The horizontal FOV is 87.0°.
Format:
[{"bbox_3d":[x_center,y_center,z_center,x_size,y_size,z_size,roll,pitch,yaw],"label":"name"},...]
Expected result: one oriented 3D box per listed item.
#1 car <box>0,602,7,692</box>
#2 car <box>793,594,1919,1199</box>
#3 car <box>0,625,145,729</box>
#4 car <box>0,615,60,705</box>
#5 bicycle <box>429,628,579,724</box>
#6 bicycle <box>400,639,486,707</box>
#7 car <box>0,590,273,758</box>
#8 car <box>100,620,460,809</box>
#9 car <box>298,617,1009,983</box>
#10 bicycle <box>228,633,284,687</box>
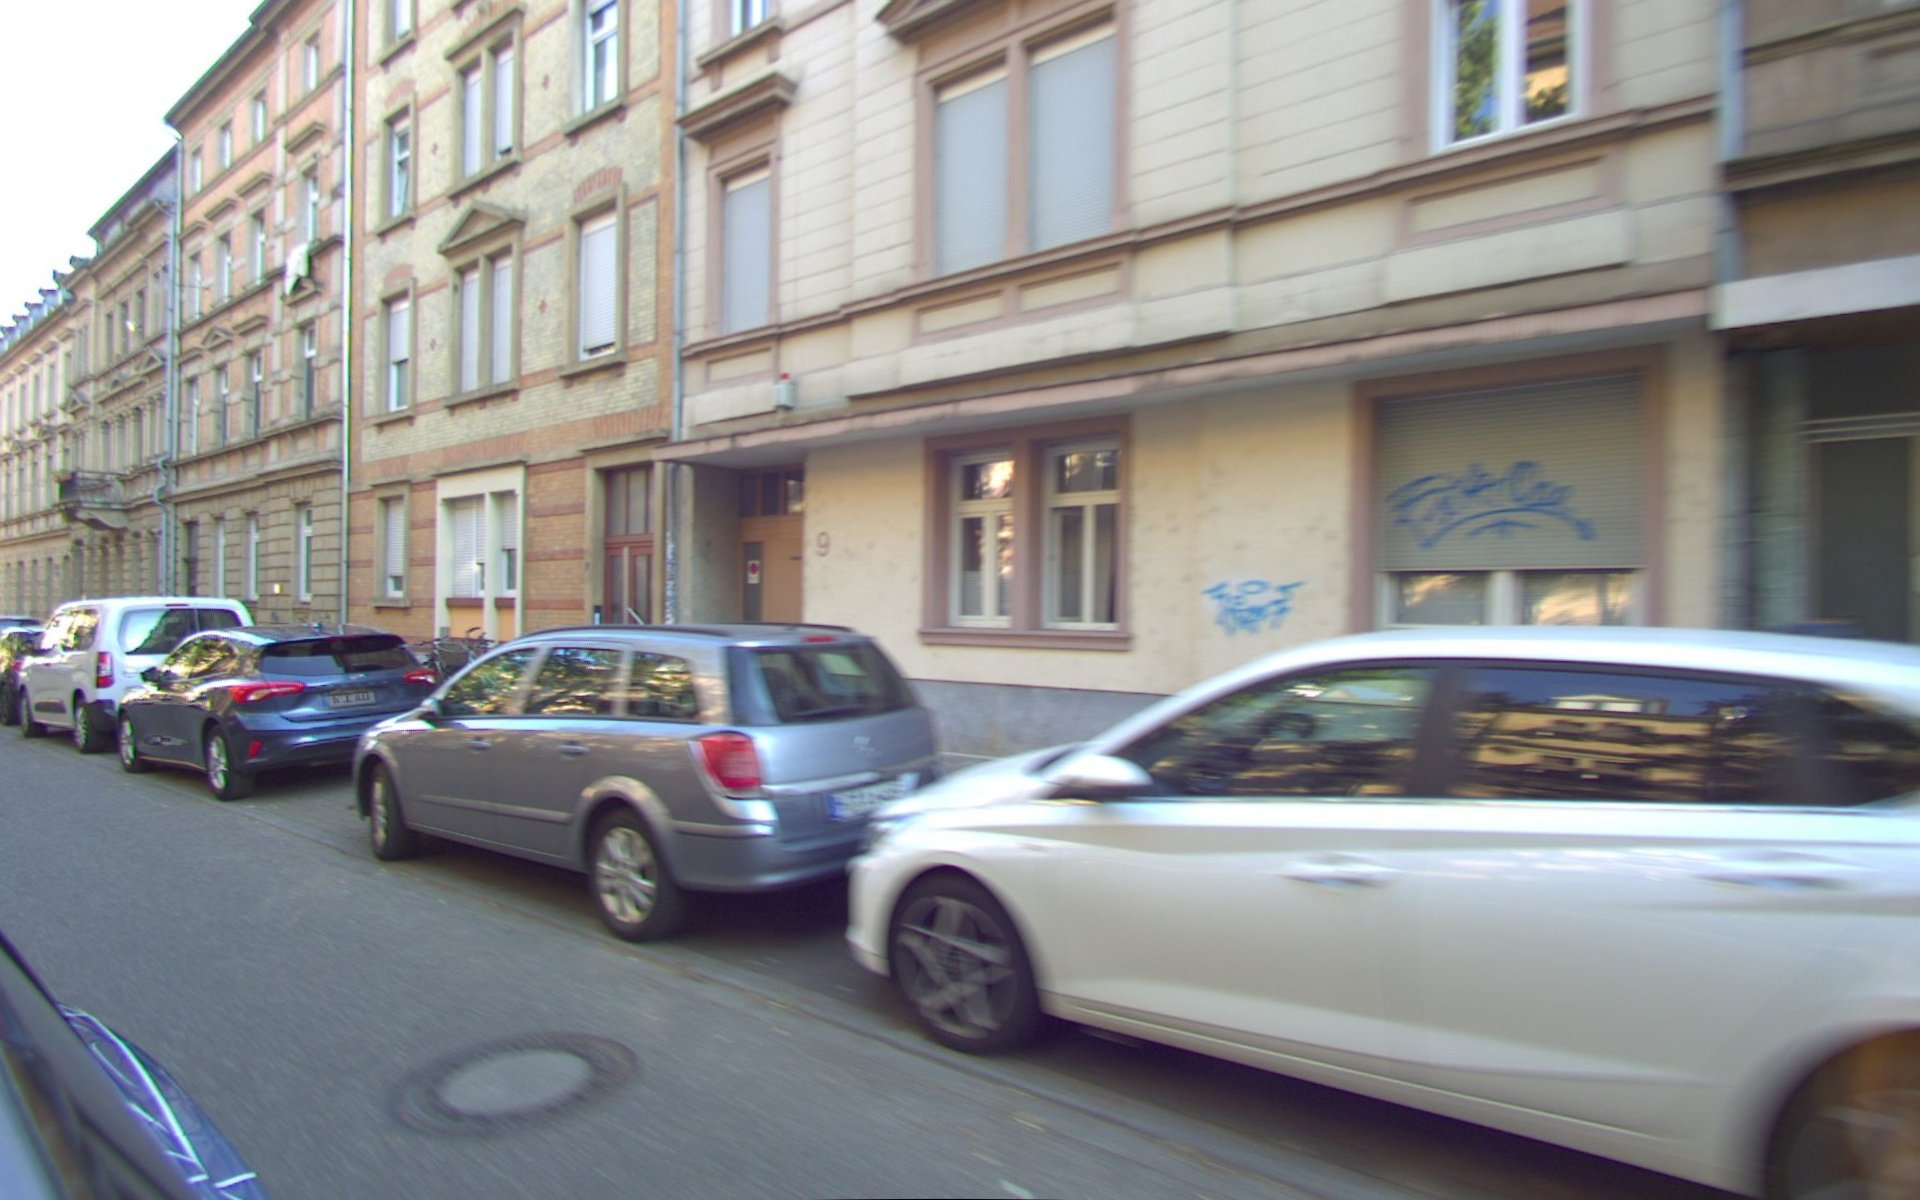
[{"bbox_3d":[-24.442,1.112,24.084,4.739,2.072,1.923,-1,-1,39],"label":"car"},{"bbox_3d":[1.477,0.762,3.423,4.082,1.483,1.740,-1,-2,38],"label":"car"},{"bbox_3d":[-14.641,1.142,16.205,3.819,1.432,1.621,-1,-1,37],"label":"car"},{"bbox_3d":[-19.573,1.152,20.198,4.153,1.670,1.749,-1,-1,39],"label":"car"},{"bbox_3d":[-6.674,1.059,14.727,2.661,1.290,0.623,-1,-1,32],"label":"bicycle"},{"bbox_3d":[-8.512,1.172,16.634,1.906,1.031,0.489,-1,-1,38],"label":"bicycle"},{"bbox_3d":[-10.945,0.848,13.304,4.599,1.847,1.825,-1,-1,38],"label":"car"},{"bbox_3d":[-6.835,0.954,10.007,4.238,1.484,1.730,-1,-2,38],"label":"car"},{"bbox_3d":[-2.091,0.847,6.186,4.535,1.455,1.868,-1,-1,37],"label":"car"},{"bbox_3d":[-15.190,1.281,21.815,1.724,1.104,0.459,-1,-1,36],"label":"bicycle"}]
